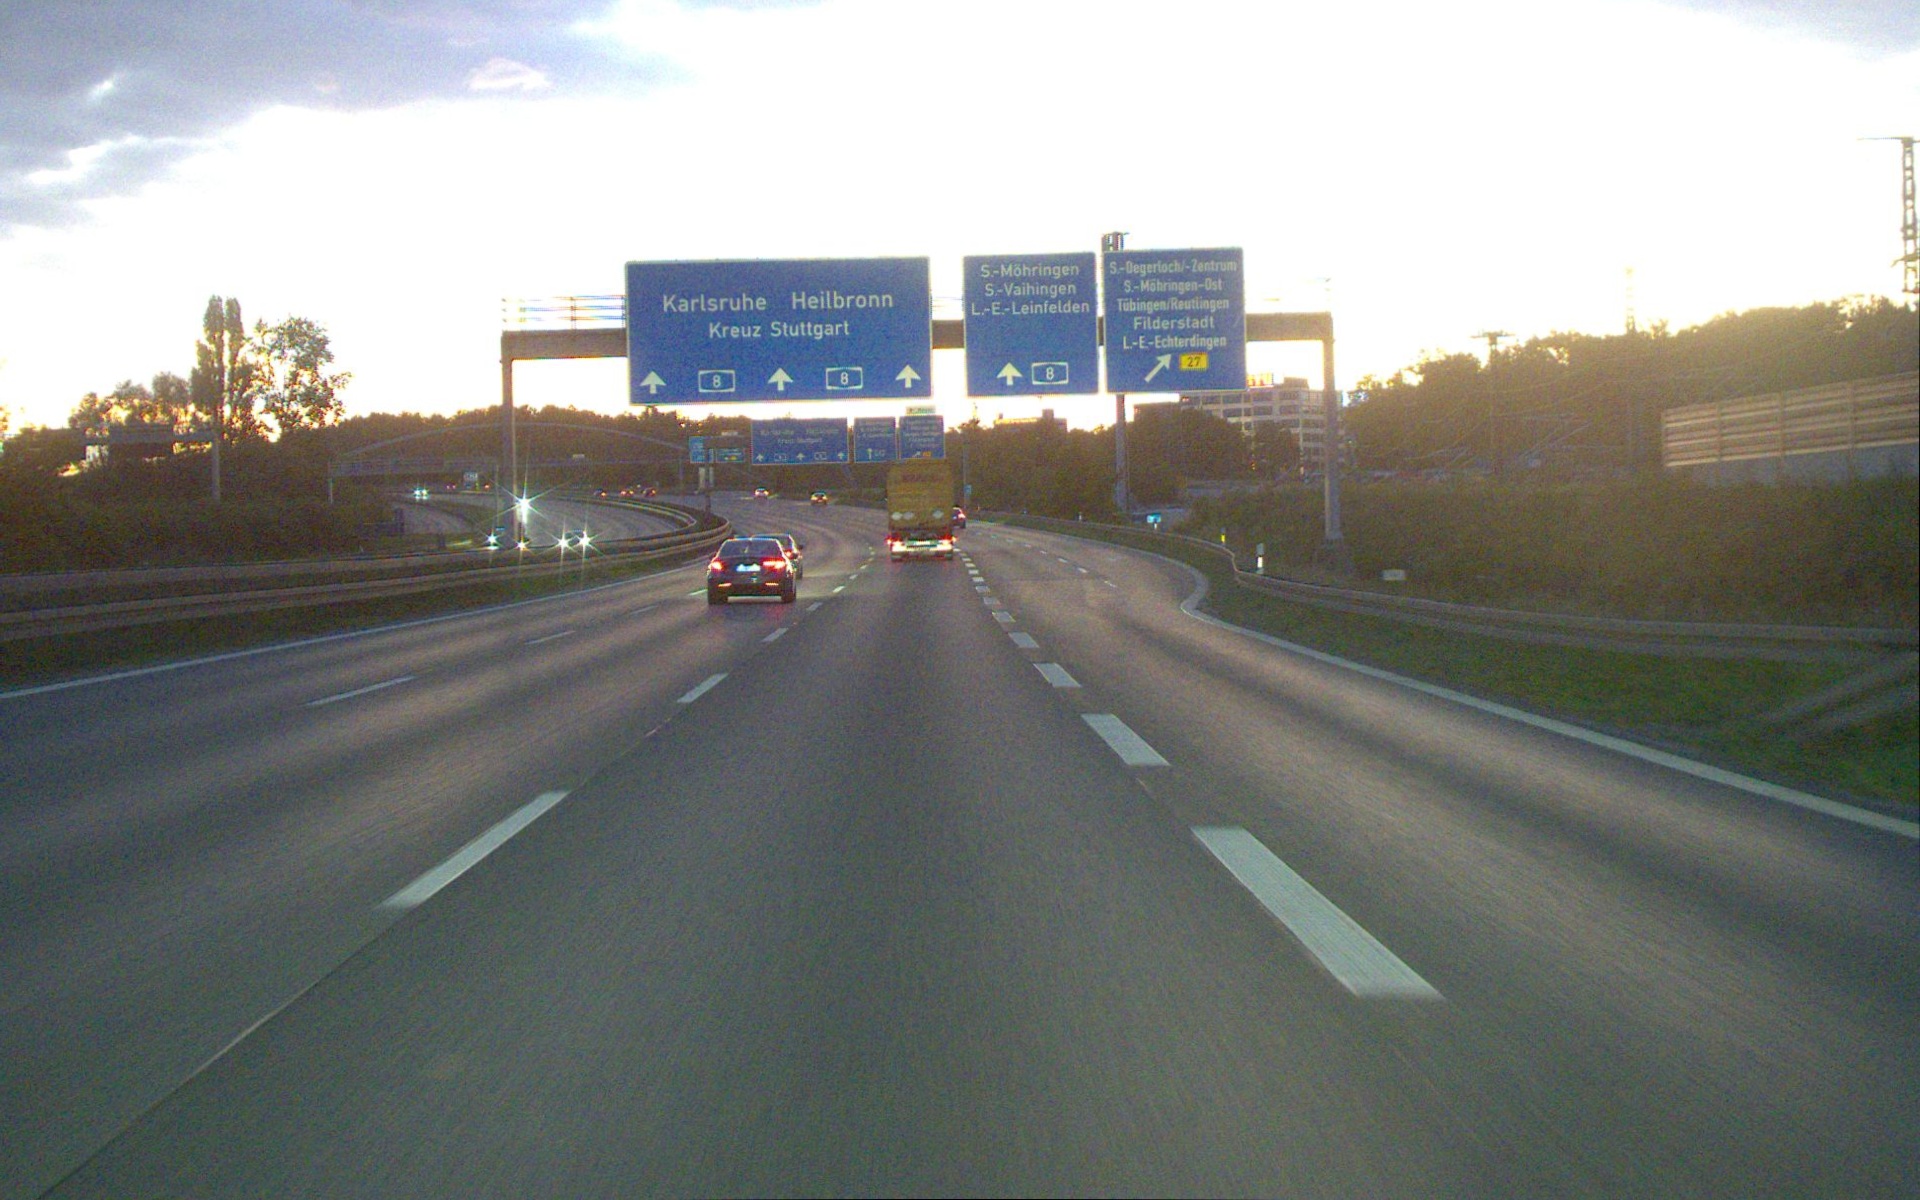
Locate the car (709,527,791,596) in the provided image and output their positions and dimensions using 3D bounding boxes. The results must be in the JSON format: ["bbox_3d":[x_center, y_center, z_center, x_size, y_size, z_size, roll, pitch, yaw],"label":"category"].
[{"bbox_3d":[-4.657,-0.867,76.071,1.689,1.396,3.409,-3,1,-4],"label":"car"}]

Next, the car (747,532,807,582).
[{"bbox_3d":[-5.654,-1.338,106.577,1.689,1.396,3.409,-4,1,-2],"label":"car"}]

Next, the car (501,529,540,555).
[{"bbox_3d":[-25.058,-3.320,196.279,1.689,1.396,4.429,0,0,-1],"label":"car"}]

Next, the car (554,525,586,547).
[{"bbox_3d":[-26.093,-4.272,229.974,1.689,1.396,4.429,0,0,-1],"label":"car"}]

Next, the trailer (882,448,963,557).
[{"bbox_3d":[-1.551,-3.960,137.548,2.721,4.057,8.833,-3,3,-2],"label":"trailer"}]

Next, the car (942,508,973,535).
[{"bbox_3d":[-0.166,-5.564,244.821,1.993,1.842,4.000,0,0,-3],"label":"car"}]
